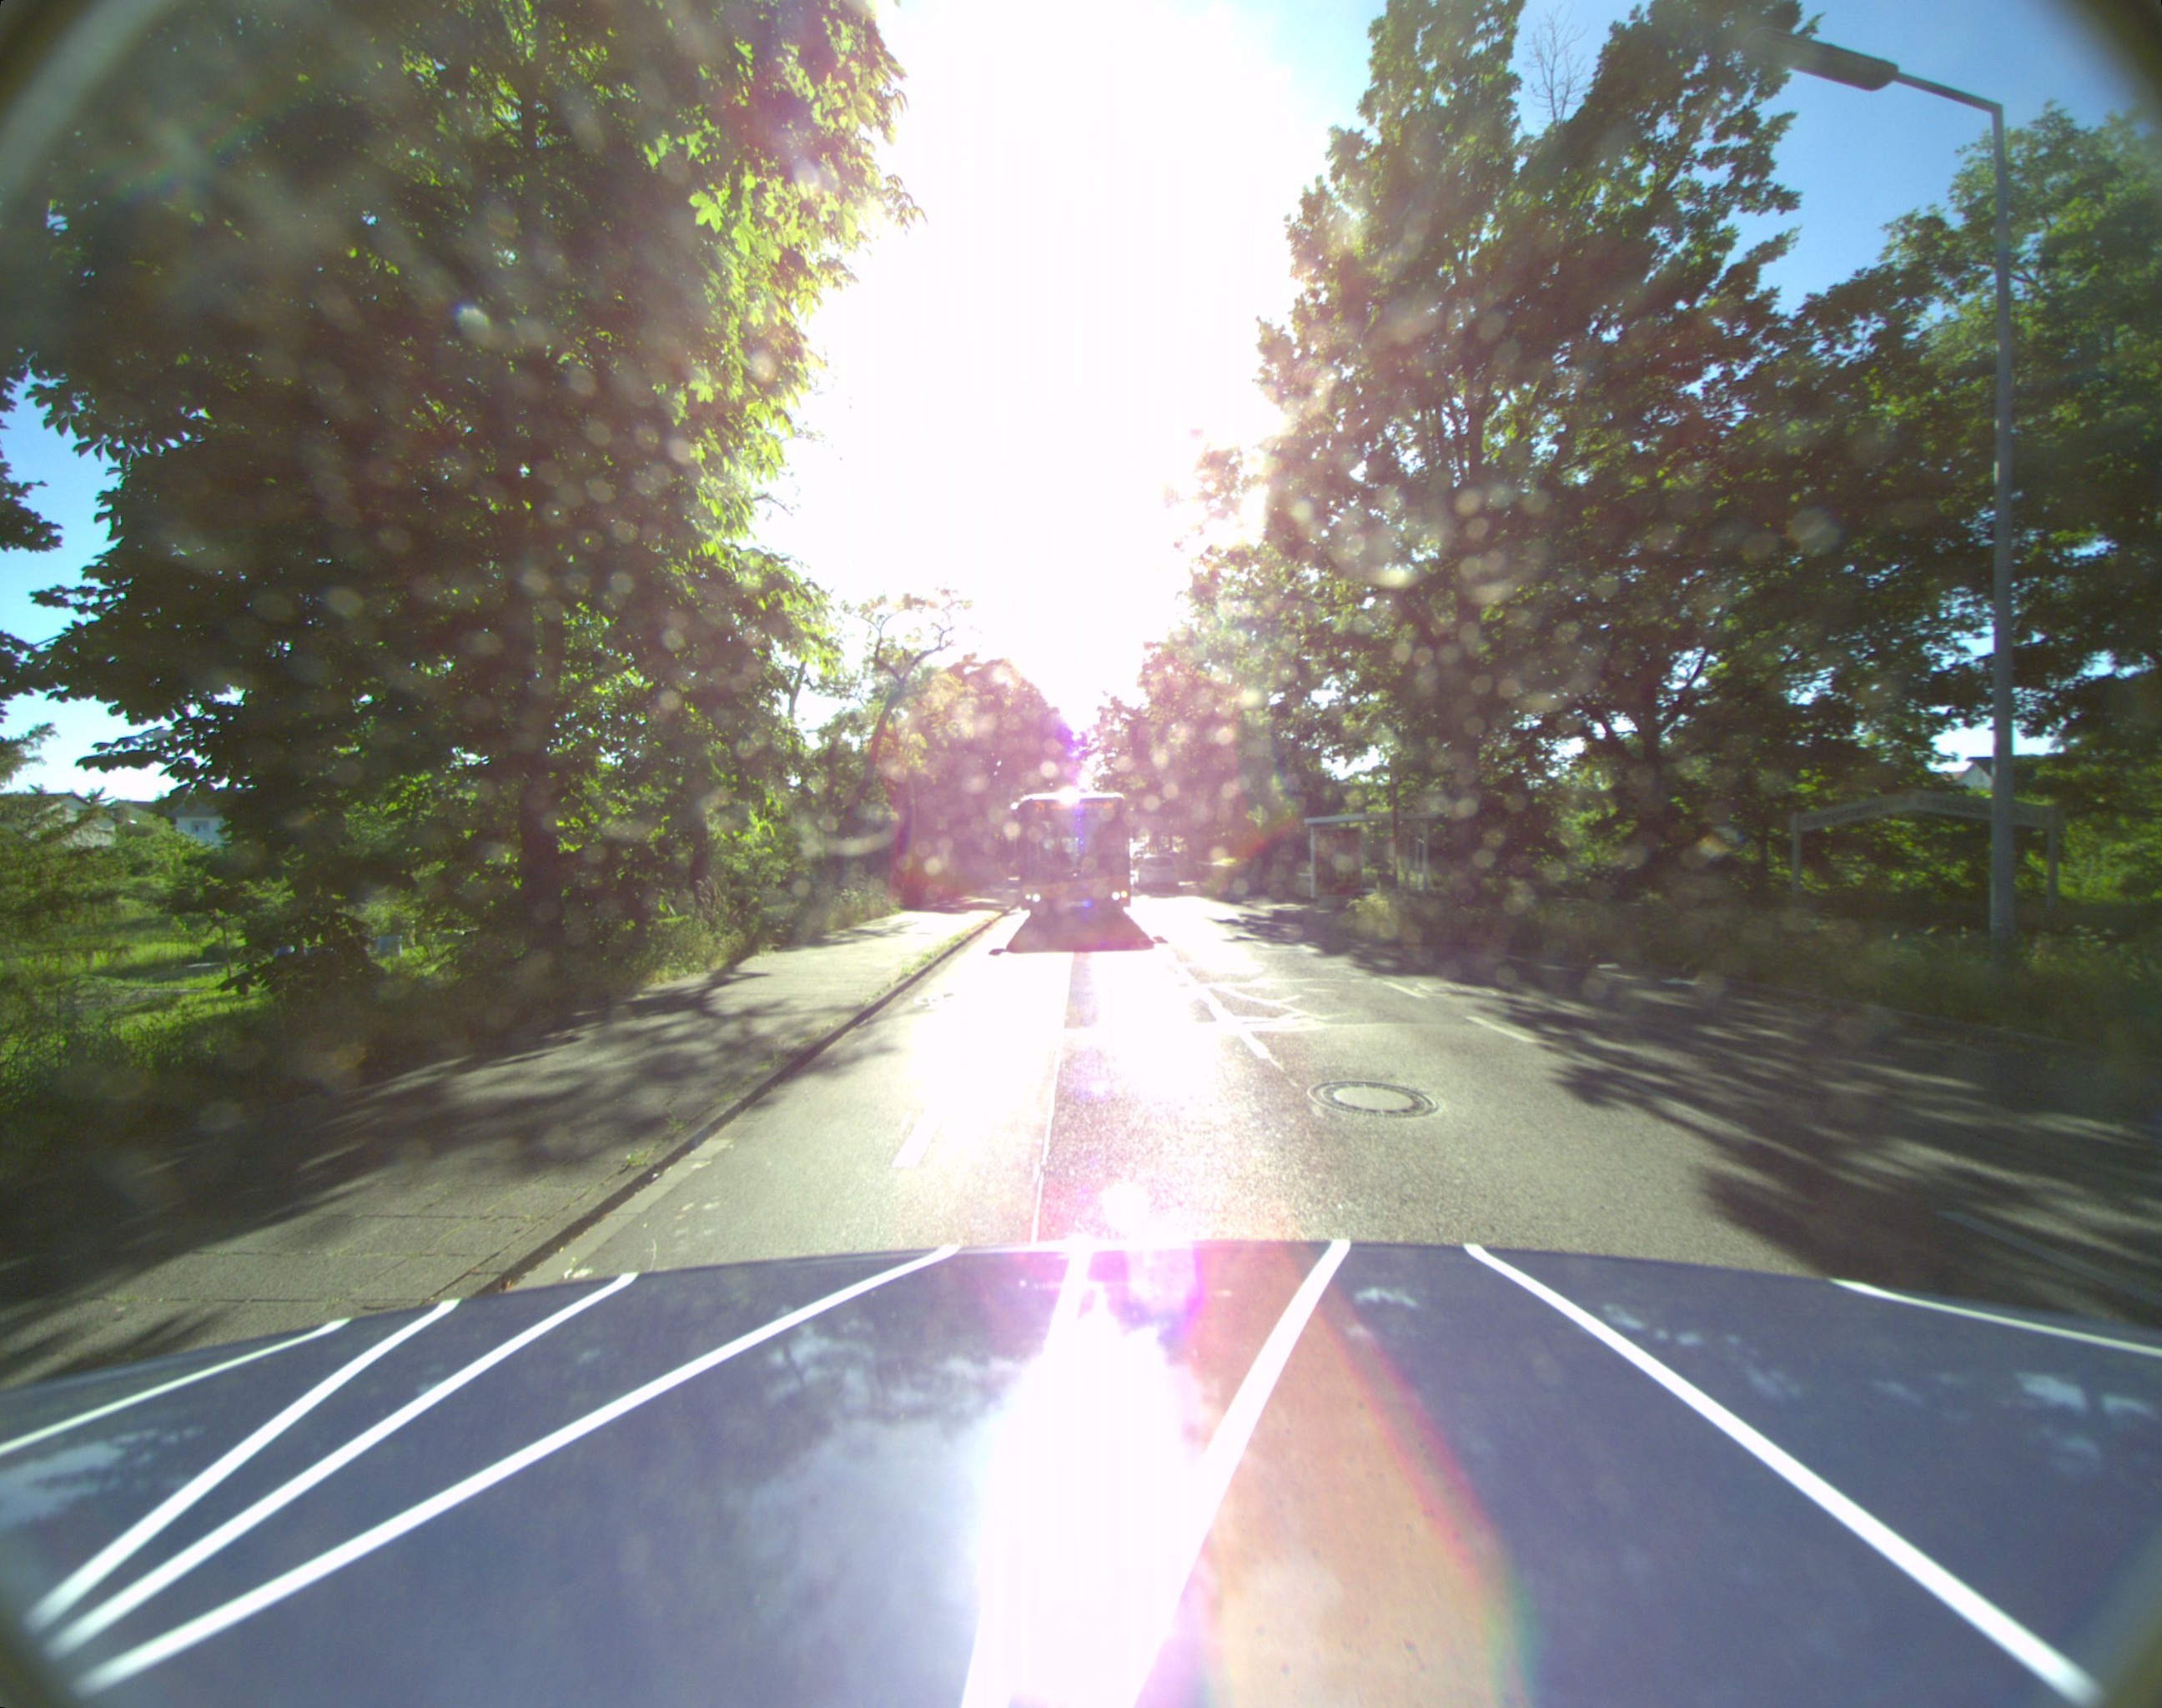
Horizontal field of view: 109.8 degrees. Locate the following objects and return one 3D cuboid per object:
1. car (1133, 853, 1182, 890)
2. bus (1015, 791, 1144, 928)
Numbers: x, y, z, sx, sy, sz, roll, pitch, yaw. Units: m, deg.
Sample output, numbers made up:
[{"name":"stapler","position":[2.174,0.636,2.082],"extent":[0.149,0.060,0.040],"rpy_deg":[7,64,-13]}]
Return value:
[{"name":"car","position":[3.369,0.779,34.218],"extent":[1.756,1.554,4.120],"rpy_deg":[1,-1,0]},{"name":"bus","position":[-0.092,0.124,23.501],"extent":[2.790,2.965,12.893],"rpy_deg":[-2,0,-1]}]
